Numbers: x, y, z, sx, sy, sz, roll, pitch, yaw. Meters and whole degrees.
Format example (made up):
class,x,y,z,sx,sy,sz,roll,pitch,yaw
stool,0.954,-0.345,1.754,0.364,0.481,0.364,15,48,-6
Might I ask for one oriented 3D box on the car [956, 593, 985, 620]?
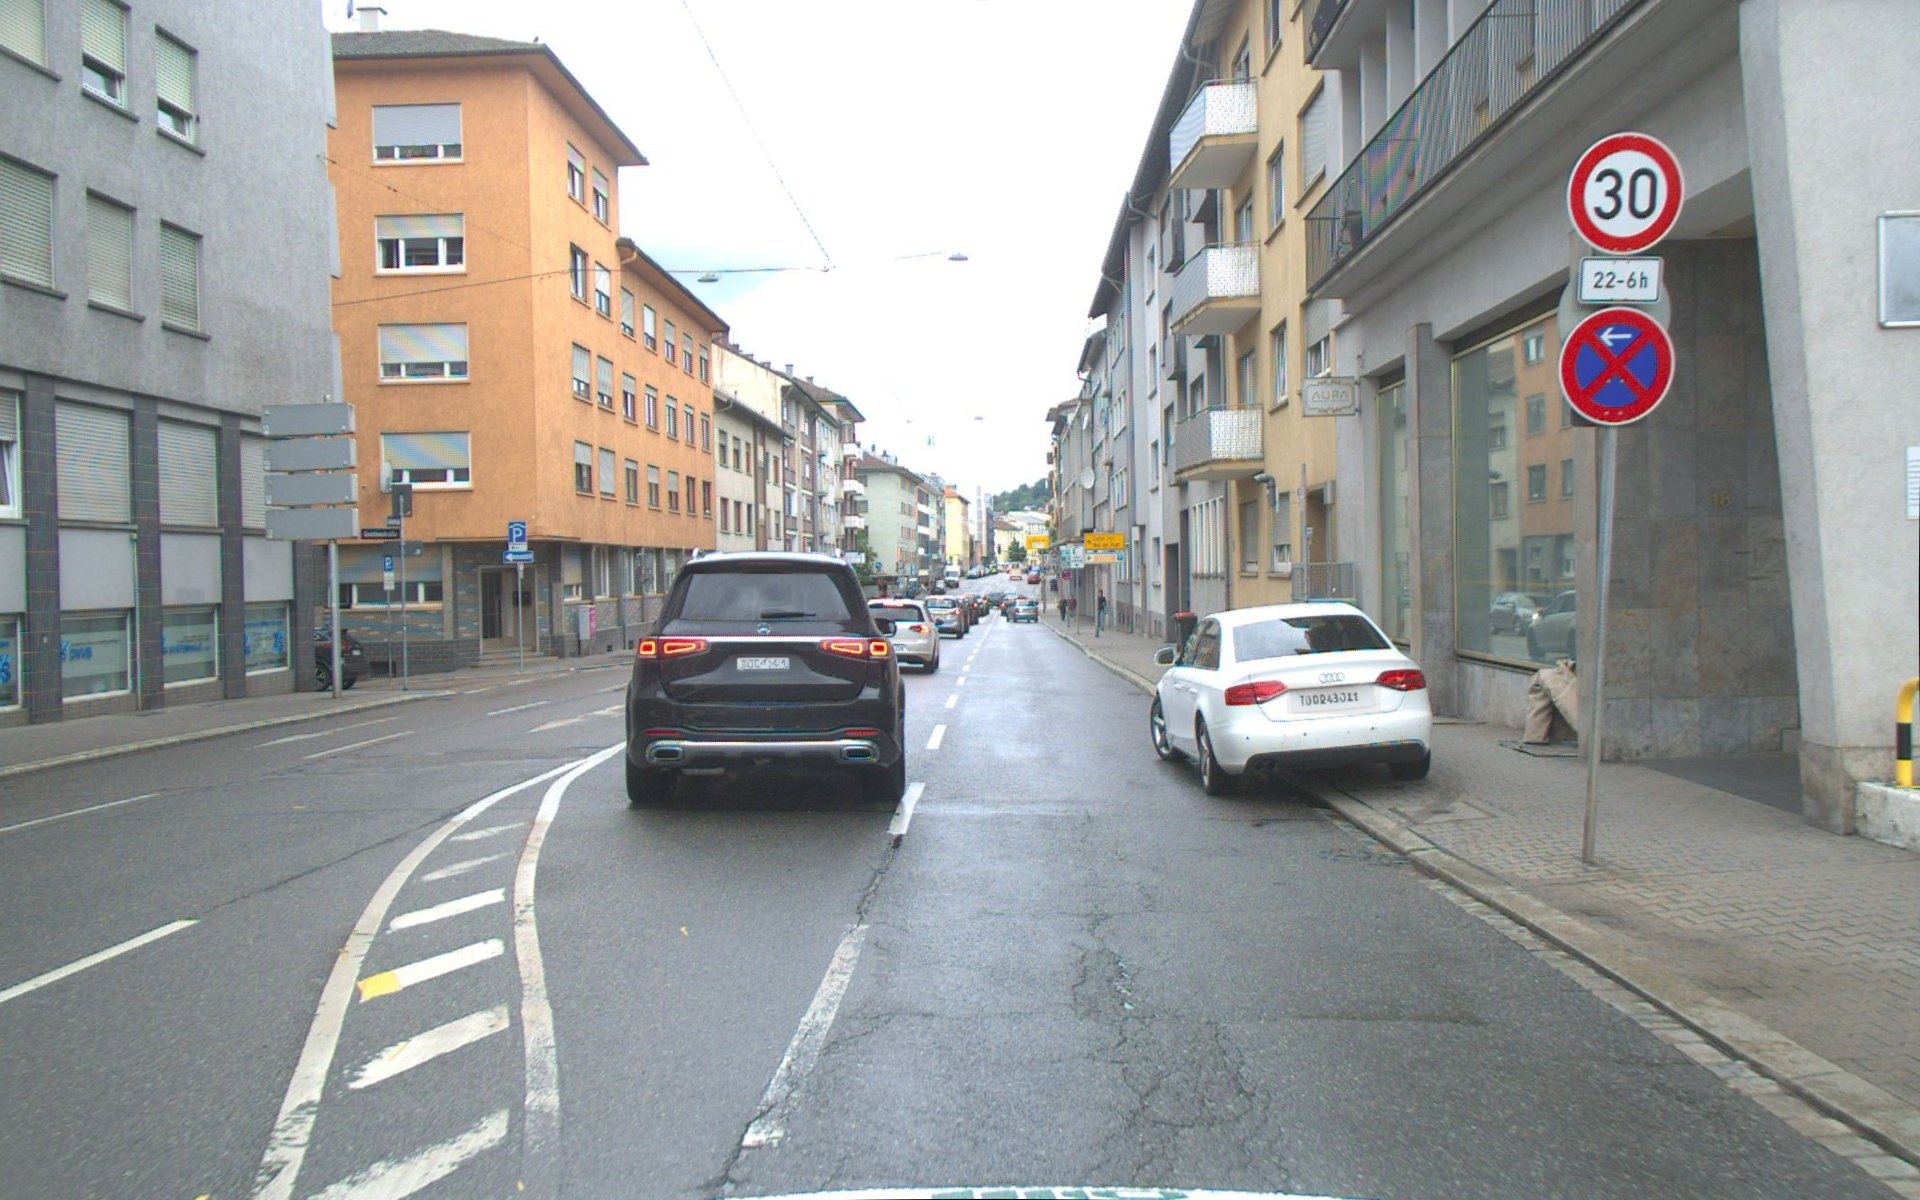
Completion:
class,x,y,z,sx,sy,sz,roll,pitch,yaw
car,0.851,0.480,127.403,1.952,2.049,4.002,1,0,4

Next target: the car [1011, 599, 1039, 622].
class,x,y,z,sx,sy,sz,roll,pitch,yaw
car,4.279,0.698,109.089,1.699,1.412,4.583,1,0,0

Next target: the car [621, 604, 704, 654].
class,x,y,z,sx,sy,sz,roll,pitch,yaw
car,-9.539,0.905,53.365,1.852,1.484,4.549,1,0,0

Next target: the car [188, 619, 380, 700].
class,x,y,z,sx,sy,sz,roll,pitch,yaw
car,-16.851,1.460,41.373,3.905,1.681,1.931,-4,0,1

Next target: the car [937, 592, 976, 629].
class,x,y,z,sx,sy,sz,roll,pitch,yaw
car,-0.164,0.579,95.565,1.952,2.049,4.002,1,0,4

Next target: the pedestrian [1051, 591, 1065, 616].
class,x,y,z,sx,sy,sz,roll,pitch,yaw
pedestrian,6.158,0.219,103.733,0.803,1.592,0.900,1,0,4

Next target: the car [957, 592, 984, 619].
class,x,y,z,sx,sy,sz,roll,pitch,yaw
car,0.859,0.449,132.775,1.952,2.049,4.002,1,0,4

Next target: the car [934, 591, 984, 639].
class,x,y,z,sx,sy,sz,roll,pitch,yaw
car,-0.001,0.661,74.963,1.952,2.049,4.002,1,0,4

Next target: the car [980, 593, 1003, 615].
class,x,y,z,sx,sy,sz,roll,pitch,yaw
car,3.049,0.409,159.673,1.952,2.049,4.002,1,0,4

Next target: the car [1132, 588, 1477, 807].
class,x,y,z,sx,sy,sz,roll,pitch,yaw
car,2.745,0.696,14.304,1.855,1.427,4.608,-5,0,-1

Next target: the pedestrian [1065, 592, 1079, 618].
class,x,y,z,sx,sy,sz,roll,pitch,yaw
pedestrian,7.029,0.288,103.684,0.803,1.592,0.900,1,0,4

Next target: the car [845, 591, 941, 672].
class,x,y,z,sx,sy,sz,roll,pitch,yaw
car,-1.365,0.628,35.038,1.855,1.537,4.173,2,0,-1

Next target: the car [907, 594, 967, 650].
class,x,y,z,sx,sy,sz,roll,pitch,yaw
car,-0.856,0.818,63.748,1.952,2.049,4.002,1,0,4

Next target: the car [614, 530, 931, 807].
class,x,y,z,sx,sy,sz,roll,pitch,yaw
car,-1.539,0.442,13.193,2.037,1.796,4.603,1,0,-8

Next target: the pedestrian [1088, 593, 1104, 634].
class,x,y,z,sx,sy,sz,roll,pitch,yaw
pedestrian,5.959,0.591,72.473,0.641,1.782,0.742,-2,0,6

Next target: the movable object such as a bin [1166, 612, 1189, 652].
class,x,y,z,sx,sy,sz,roll,pitch,yaw
movable object such as a bin,5.422,0.796,41.264,0.463,0.979,0.564,-3,0,3
